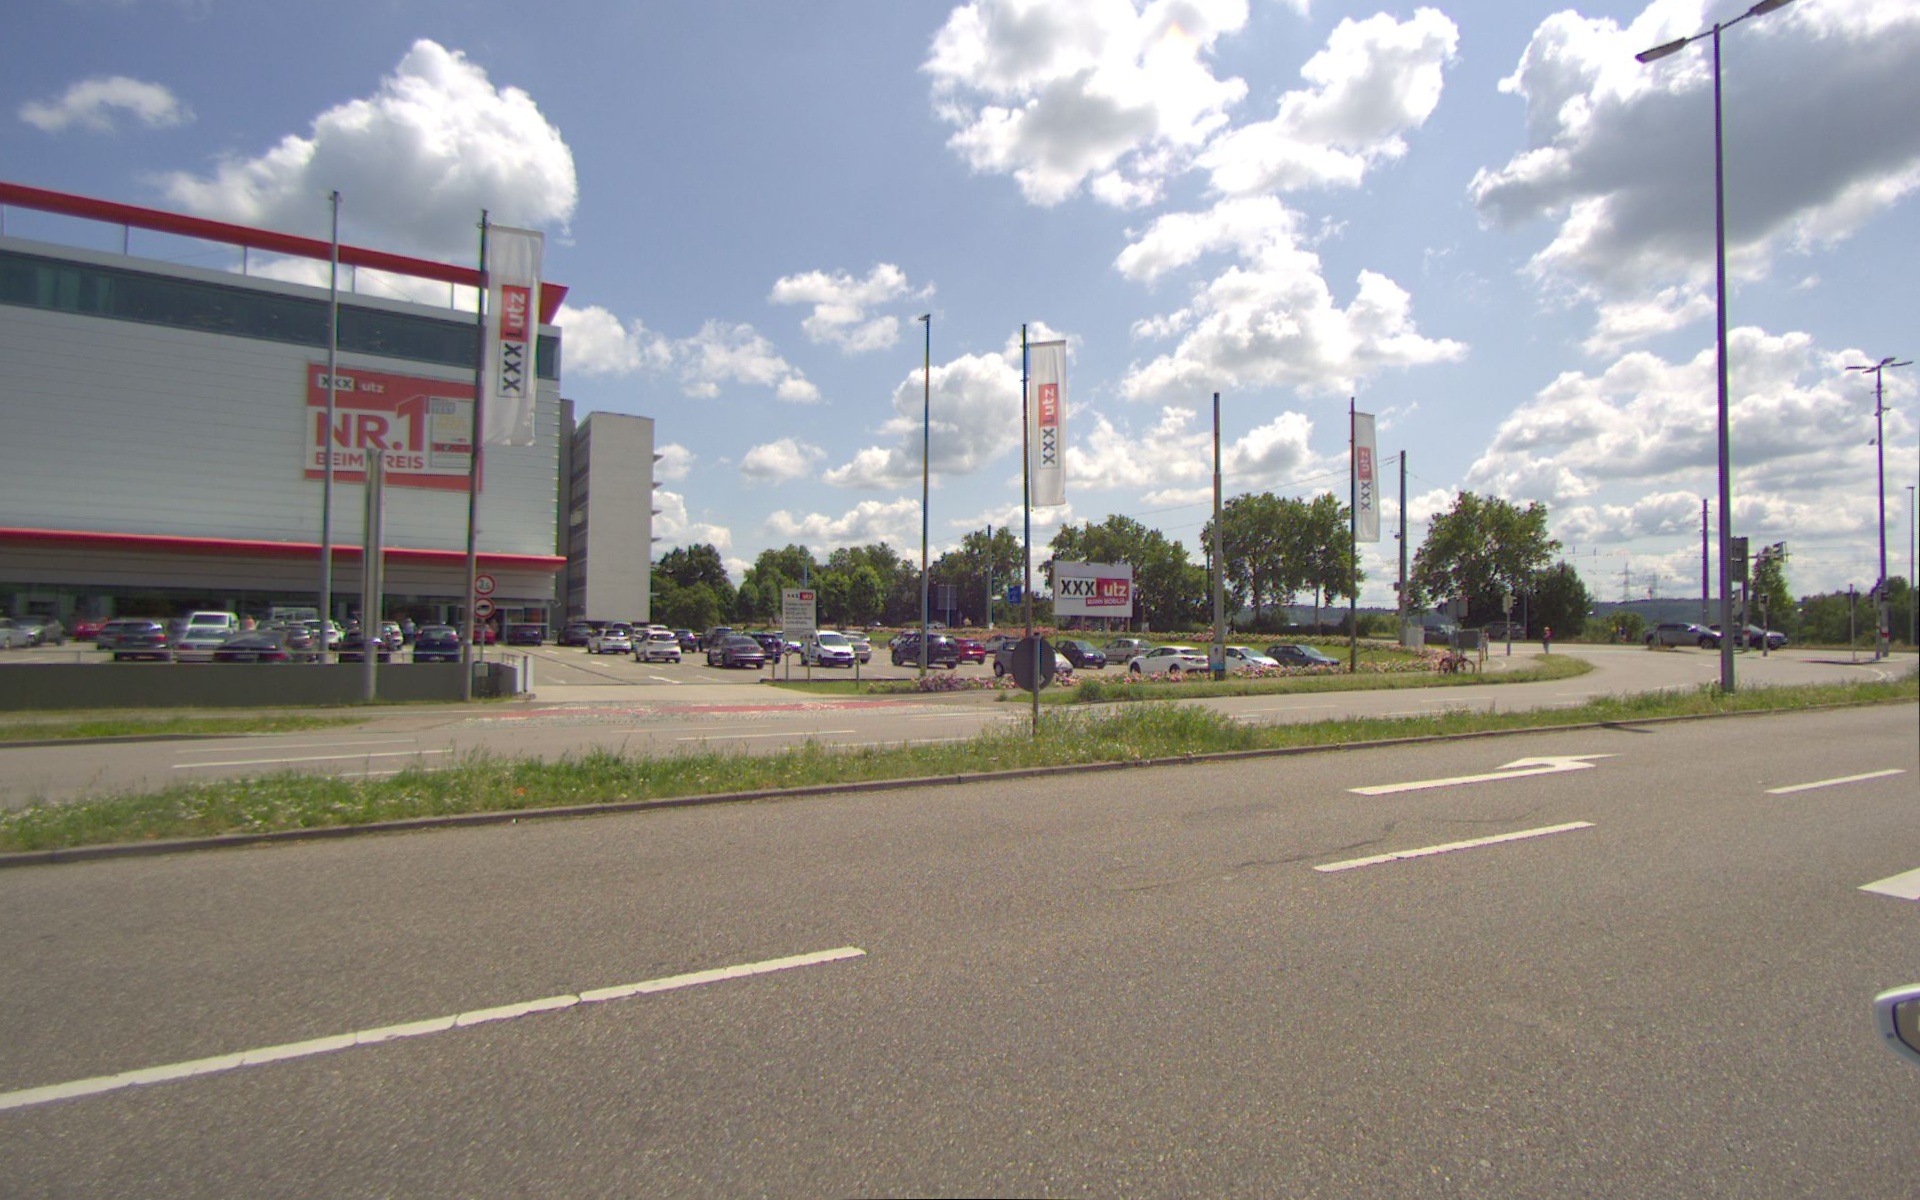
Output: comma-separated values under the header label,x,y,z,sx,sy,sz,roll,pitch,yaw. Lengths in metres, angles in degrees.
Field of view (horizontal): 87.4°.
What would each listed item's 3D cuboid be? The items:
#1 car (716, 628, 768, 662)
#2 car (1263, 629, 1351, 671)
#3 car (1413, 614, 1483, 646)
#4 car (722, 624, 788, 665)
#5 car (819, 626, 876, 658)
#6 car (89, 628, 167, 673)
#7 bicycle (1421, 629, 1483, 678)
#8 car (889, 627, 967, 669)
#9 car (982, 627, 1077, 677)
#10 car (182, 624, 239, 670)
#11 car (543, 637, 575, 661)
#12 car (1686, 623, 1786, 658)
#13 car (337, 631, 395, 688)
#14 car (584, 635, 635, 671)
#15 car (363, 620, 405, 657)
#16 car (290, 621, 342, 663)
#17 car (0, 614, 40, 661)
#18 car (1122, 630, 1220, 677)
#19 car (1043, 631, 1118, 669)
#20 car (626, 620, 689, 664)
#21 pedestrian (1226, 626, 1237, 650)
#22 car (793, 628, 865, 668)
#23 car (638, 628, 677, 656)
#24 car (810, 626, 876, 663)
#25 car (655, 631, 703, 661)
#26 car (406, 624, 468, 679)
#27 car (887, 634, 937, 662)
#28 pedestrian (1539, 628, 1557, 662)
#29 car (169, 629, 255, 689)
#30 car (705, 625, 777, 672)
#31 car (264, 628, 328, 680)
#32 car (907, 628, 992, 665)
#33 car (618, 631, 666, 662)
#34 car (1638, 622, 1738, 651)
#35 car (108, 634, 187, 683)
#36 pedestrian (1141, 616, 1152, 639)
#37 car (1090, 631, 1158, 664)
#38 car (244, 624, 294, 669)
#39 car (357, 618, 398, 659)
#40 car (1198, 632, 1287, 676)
label,x,y,z,sx,sy,sz,roll,pitch,yaw
car,-13.385,2.768,61.570,1.977,2.015,4.053,1,-3,-30
car,17.686,2.528,51.383,1.976,2.040,3.970,1,-3,-29
car,31.670,1.962,65.336,1.966,2.040,3.990,0,-2,-14
car,-10.517,2.264,51.344,1.977,2.015,4.328,1,-3,-30
car,-7.388,2.722,65.806,1.978,2.015,4.588,1,-3,-31
car,-38.929,2.338,47.112,1.976,2.015,4.330,1,-3,-29
bicycle,17.607,1.894,35.925,2.024,1.697,1.013,1,-2,-30
car,-1.684,2.429,51.230,1.977,2.015,4.560,2,-2,-30
car,2.900,2.178,42.867,1.977,2.015,4.328,1,-3,-30
car,-39.658,2.462,53.254,1.848,2.336,4.534,1,-3,-30
car,-34.557,4.212,86.490,1.977,2.015,4.328,1,-3,-30
car,46.684,2.424,60.508,1.977,2.015,4.328,1,-3,-30
car,-23.033,2.246,38.957,1.822,2.015,4.051,2,-2,-31
car,-20.449,3.065,58.534,1.977,2.015,4.328,1,-3,-30
car,-32.467,2.160,56.581,1.977,2.040,3.968,1,-2,-30
car,-32.397,2.137,50.641,1.977,2.015,4.328,2,-3,-30
car,-42.858,1.667,44.654,1.977,2.015,4.328,1,-3,-30
car,9.567,2.404,45.872,1.977,2.015,4.328,1,-3,-30
car,6.675,2.774,56.204,1.977,2.015,4.328,1,-3,-30
car,-14.940,2.089,49.480,1.977,2.015,4.328,3,-4,-30
pedestrian,20.416,2.847,75.613,0.588,1.834,0.532,0,-2,-20
car,-6.461,2.323,49.275,1.977,1.863,4.328,1,-3,-30
car,-22.402,3.122,74.278,1.976,2.015,4.056,1,-3,-28
car,-6.369,2.414,54.427,1.977,1.906,4.328,1,-3,-30
car,-18.190,2.972,64.915,1.977,1.906,4.328,1,-3,-30
car,-20.880,2.001,40.026,1.977,2.015,4.327,1,-2,-30
car,-3.574,3.505,74.063,1.977,2.015,4.328,1,-3,-30
pedestrian,32.557,2.473,55.627,0.784,1.862,0.865,2,0,31
car,-26.822,2.071,36.172,1.977,2.015,4.328,1,-3,-30
car,-10.084,2.207,45.992,1.977,2.015,4.328,1,-3,-30
car,-27.533,2.218,41.764,1.977,2.040,4.788,1,-3,-31
car,-0.682,2.690,58.263,1.985,2.015,5.244,2,-3,-42
car,-20.082,2.909,63.389,1.977,1.906,4.328,1,-3,-30
car,43.614,2.222,60.282,1.882,1.696,4.483,2,-3,-30
car,-32.085,2.280,39.763,1.757,1.854,4.328,1,-3,-30
pedestrian,16.368,2.414,88.177,0.761,2.040,0.566,0,-2,-10
car,10.441,3.032,64.175,1.977,2.015,4.328,1,-3,-30
car,-37.328,2.505,54.330,1.848,2.336,4.534,1,-3,-30
car,-30.153,1.981,52.047,1.757,2.040,3.968,1,-2,-30
car,13.697,2.588,48.889,1.976,2.040,3.970,1,-3,-29
